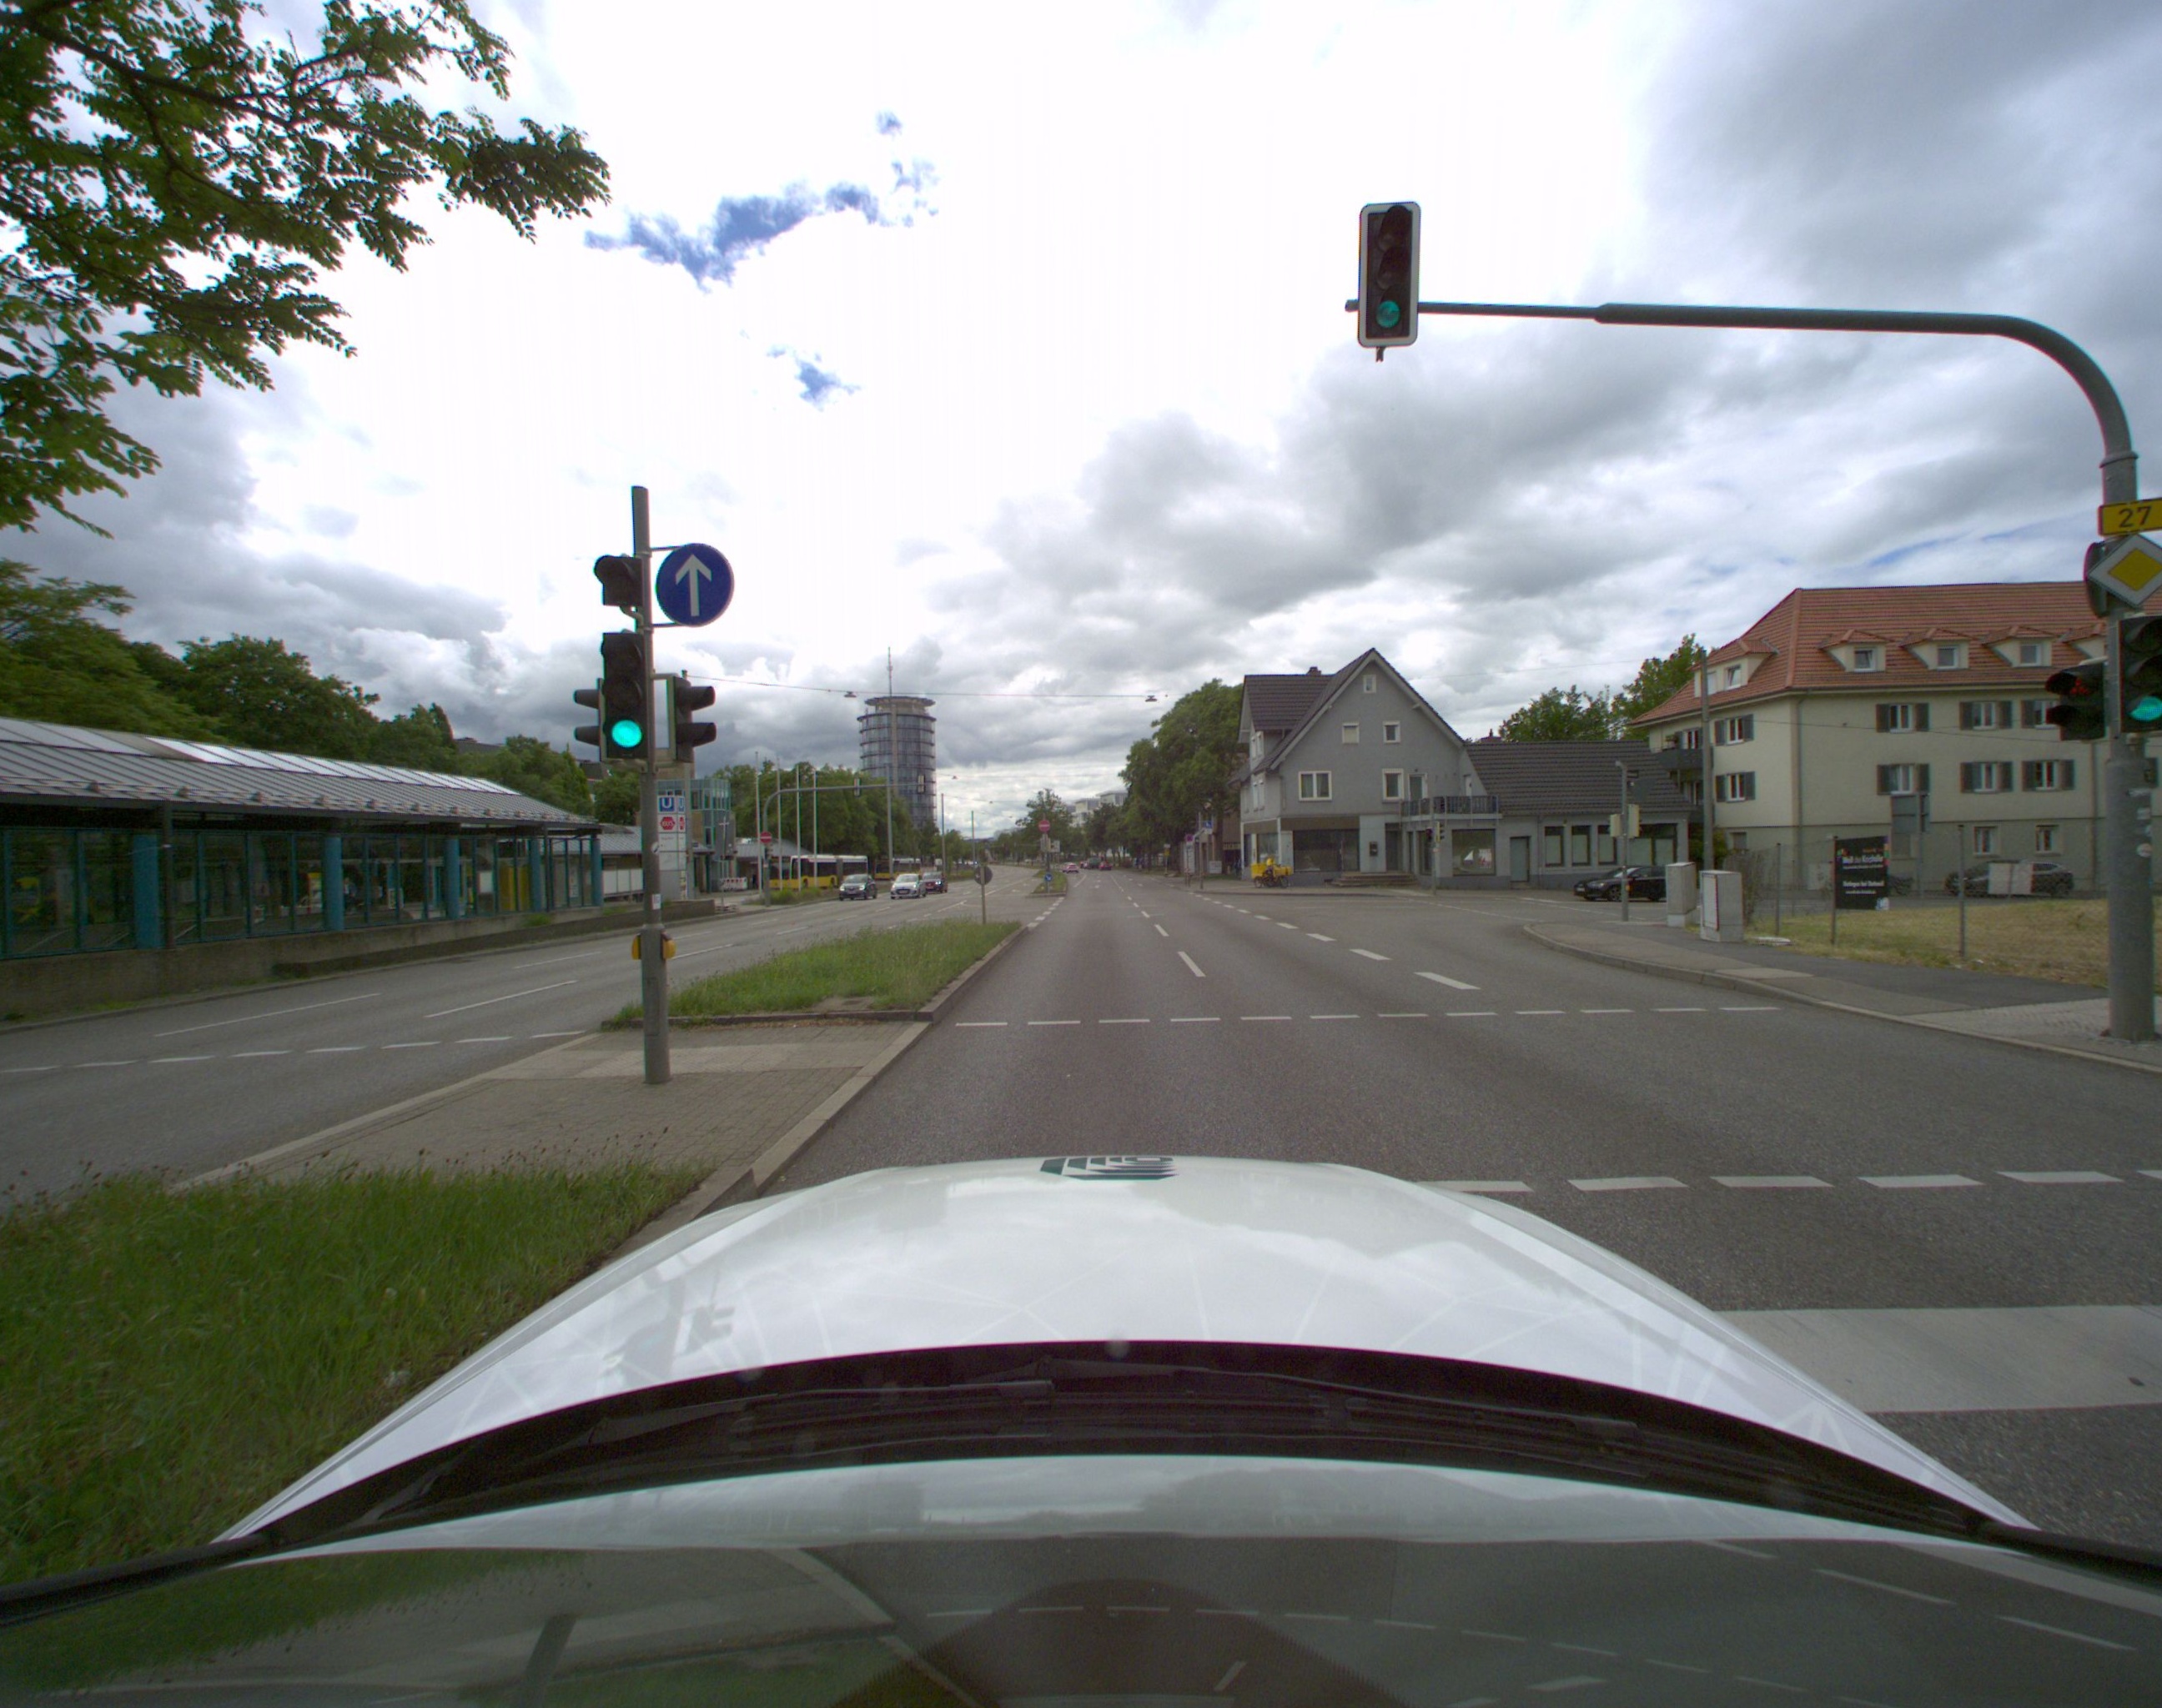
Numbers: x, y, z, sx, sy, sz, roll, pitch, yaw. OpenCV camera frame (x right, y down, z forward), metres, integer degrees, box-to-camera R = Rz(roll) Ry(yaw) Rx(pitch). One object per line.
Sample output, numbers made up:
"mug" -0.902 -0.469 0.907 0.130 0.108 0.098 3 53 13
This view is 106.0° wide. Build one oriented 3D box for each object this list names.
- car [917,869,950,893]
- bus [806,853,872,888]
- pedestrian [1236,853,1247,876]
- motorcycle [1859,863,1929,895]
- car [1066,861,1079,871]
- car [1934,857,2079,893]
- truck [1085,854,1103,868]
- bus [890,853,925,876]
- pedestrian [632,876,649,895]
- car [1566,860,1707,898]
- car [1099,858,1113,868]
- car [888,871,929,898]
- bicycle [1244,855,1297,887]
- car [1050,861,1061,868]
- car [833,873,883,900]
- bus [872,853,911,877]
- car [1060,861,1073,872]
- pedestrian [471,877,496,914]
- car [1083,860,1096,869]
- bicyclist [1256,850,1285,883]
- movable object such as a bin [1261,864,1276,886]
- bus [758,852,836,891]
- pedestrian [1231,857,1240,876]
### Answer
"car" -10.258 1.854 56.869 1.654 1.508 3.765 -2 -1 -2
"bus" -23.524 1.544 79.688 2.795 3.132 9.314 0 0 6
"pedestrian" 12.779 0.822 64.834 0.655 1.826 0.843 -4 -1 1
"motorcycle" 34.927 1.067 35.005 2.296 1.316 0.686 -1 2 1
"car" -1.405 1.891 128.184 1.859 1.449 3.995 -2 -1 -3
"car" 39.916 0.904 35.200 4.064 1.464 2.000 0 0 0
"truck" 2.451 1.357 155.507 2.853 2.519 6.279 -2 -1 -3
"bus" -26.225 1.569 123.683 3.020 3.456 9.912 0 -1 1
"pedestrian" -27.548 1.981 50.924 0.617 1.121 0.658 -2 -1 2
"car" 21.938 0.967 32.295 4.328 1.422 1.907 0 -1 -1
"car" 4.170 1.544 134.985 1.988 1.596 3.996 -2 0 -2
"car" -10.382 1.815 49.200 1.740 1.465 3.787 -1 0 -2
"bicycle" 9.391 0.867 40.431 0.966 1.508 2.659 -1 -1 -30
"car" -5.251 2.238 171.219 1.986 1.508 4.001 -3 -1 2
"car" -13.561 1.947 49.701 1.808 1.508 4.001 -2 -1 2
"bus" -26.242 1.547 113.292 3.075 3.163 10.731 0 0 -1
"car" -2.432 2.099 138.523 1.989 1.672 3.995 -2 -1 -3
"pedestrian" -27.383 1.897 37.312 0.617 1.649 0.658 -2 -1 2
"car" 1.712 2.096 162.874 1.991 1.508 3.991 -2 0 -6
"bicyclist" 9.394 0.627 40.399 0.964 1.599 0.930 -2 -1 -24
"movable object such as a bin" 9.670 1.064 42.028 0.624 1.104 0.709 -1 -1 0
"bus" -24.342 1.464 70.432 2.763 3.132 9.449 0 0 4
"pedestrian" 12.678 1.041 66.723 0.559 1.550 0.544 -4 -1 1
